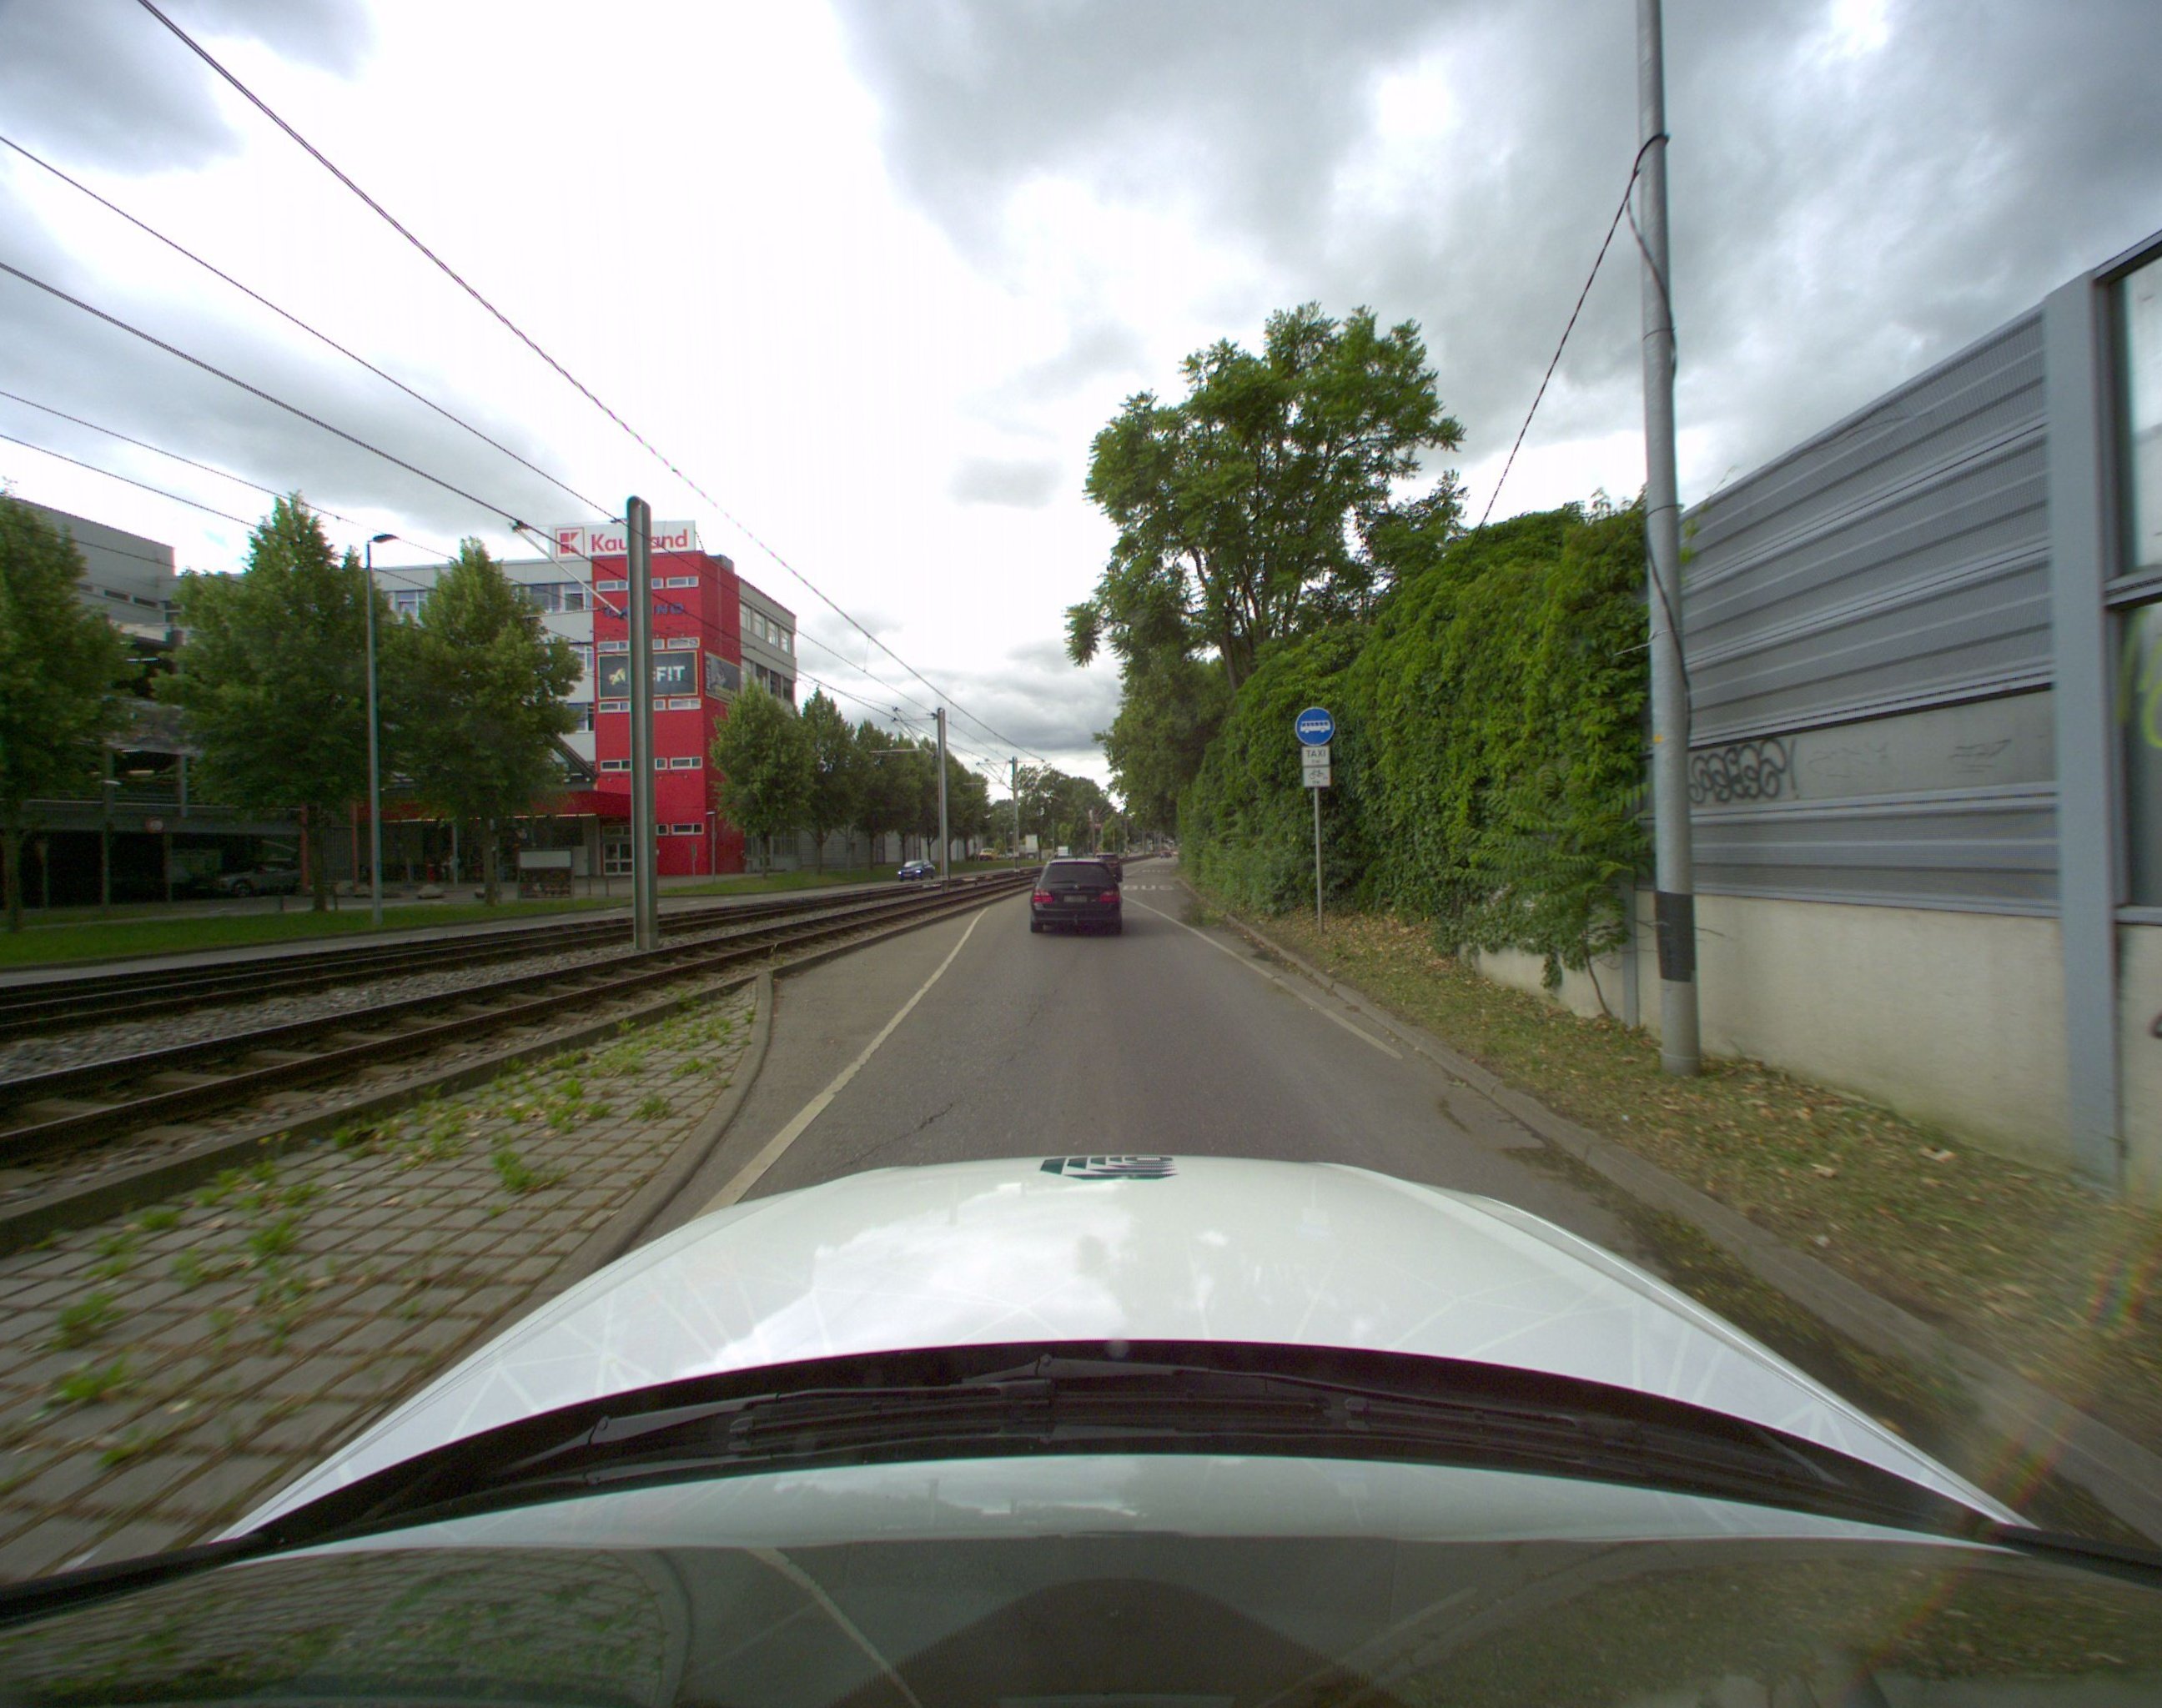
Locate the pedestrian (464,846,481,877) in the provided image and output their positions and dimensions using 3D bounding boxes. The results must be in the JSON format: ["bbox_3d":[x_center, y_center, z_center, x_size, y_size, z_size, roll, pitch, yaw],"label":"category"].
[{"bbox_3d":[-39.775,0.507,53.216,0.598,2.013,0.554,-3,-1,5],"label":"pedestrian"}]

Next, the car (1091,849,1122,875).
[{"bbox_3d":[1.634,0.487,51.002,1.817,1.530,4.419,-1,0,3],"label":"car"}]

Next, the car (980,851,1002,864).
[{"bbox_3d":[-13.222,0.539,119.424,1.982,1.743,4.998,-2,0,8],"label":"car"}]

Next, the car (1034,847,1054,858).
[{"bbox_3d":[-7.747,-0.350,170.415,3.976,2.123,1.999,-3,-1,-2],"label":"car"}]

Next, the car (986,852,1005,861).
[{"bbox_3d":[-18.346,0.454,174.955,3.989,1.680,1.992,-3,-1,-12],"label":"car"}]

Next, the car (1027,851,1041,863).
[{"bbox_3d":[-8.649,0.596,149.823,1.985,2.013,4.004,-3,-1,3],"label":"car"}]

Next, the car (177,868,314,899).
[{"bbox_3d":[-37.982,1.306,37.199,1.448,1.226,4.454,-1,0,3],"label":"car"}]

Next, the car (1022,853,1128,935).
[{"bbox_3d":[0.004,0.732,17.085,1.825,1.478,4.421,-1,0,4],"label":"car"}]

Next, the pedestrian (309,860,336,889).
[{"bbox_3d":[-45.710,1.249,49.106,0.734,1.695,0.867,-3,-1,3],"label":"pedestrian"}]

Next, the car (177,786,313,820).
[{"bbox_3d":[-38.065,-2.280,37.252,1.430,1.226,4.454,-1,0,3],"label":"car"}]

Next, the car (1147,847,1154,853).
[{"bbox_3d":[18.811,-1.018,220.309,1.816,1.530,4.185,-1,0,5],"label":"car"}]

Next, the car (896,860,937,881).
[{"bbox_3d":[-11.451,1.138,56.934,1.650,1.393,3.728,-1,0,9],"label":"car"}]

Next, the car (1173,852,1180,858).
[{"bbox_3d":[25.587,0.281,218.329,1.816,1.530,4.185,-1,0,5],"label":"car"}]

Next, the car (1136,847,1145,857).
[{"bbox_3d":[13.408,-0.483,183.025,1.883,2.013,3.902,-3,-1,4],"label":"car"}]

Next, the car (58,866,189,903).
[{"bbox_3d":[-45.016,1.389,38.425,1.761,1.552,3.642,-3,-1,2],"label":"car"}]

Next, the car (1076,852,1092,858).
[{"bbox_3d":[0.841,0.338,225.258,3.966,1.644,2.004,-1,0,6],"label":"car"}]

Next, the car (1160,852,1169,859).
[{"bbox_3d":[17.125,0.292,167.906,1.816,1.530,4.422,-1,0,5],"label":"car"}]

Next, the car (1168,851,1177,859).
[{"bbox_3d":[20.128,0.206,179.616,1.816,1.530,4.185,-1,0,5],"label":"car"}]

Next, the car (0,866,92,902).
[{"bbox_3d":[-49.690,1.401,38.352,1.667,1.552,3.676,-1,0,2],"label":"car"}]

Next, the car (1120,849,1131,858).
[{"bbox_3d":[7.796,-0.032,143.364,1.816,1.530,3.992,-1,0,5],"label":"car"}]

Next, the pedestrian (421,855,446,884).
[{"bbox_3d":[-39.277,0.944,49.427,0.734,1.695,0.867,-3,-1,3],"label":"pedestrian"}]

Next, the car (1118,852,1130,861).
[{"bbox_3d":[7.357,0.474,138.518,1.816,1.530,3.992,-1,0,5],"label":"car"}]

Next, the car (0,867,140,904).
[{"bbox_3d":[-47.266,1.427,38.200,1.667,1.552,3.812,-3,-1,2],"label":"car"}]

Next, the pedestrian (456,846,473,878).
[{"bbox_3d":[-39.836,0.491,52.618,0.598,2.013,0.554,-3,-1,5],"label":"pedestrian"}]
